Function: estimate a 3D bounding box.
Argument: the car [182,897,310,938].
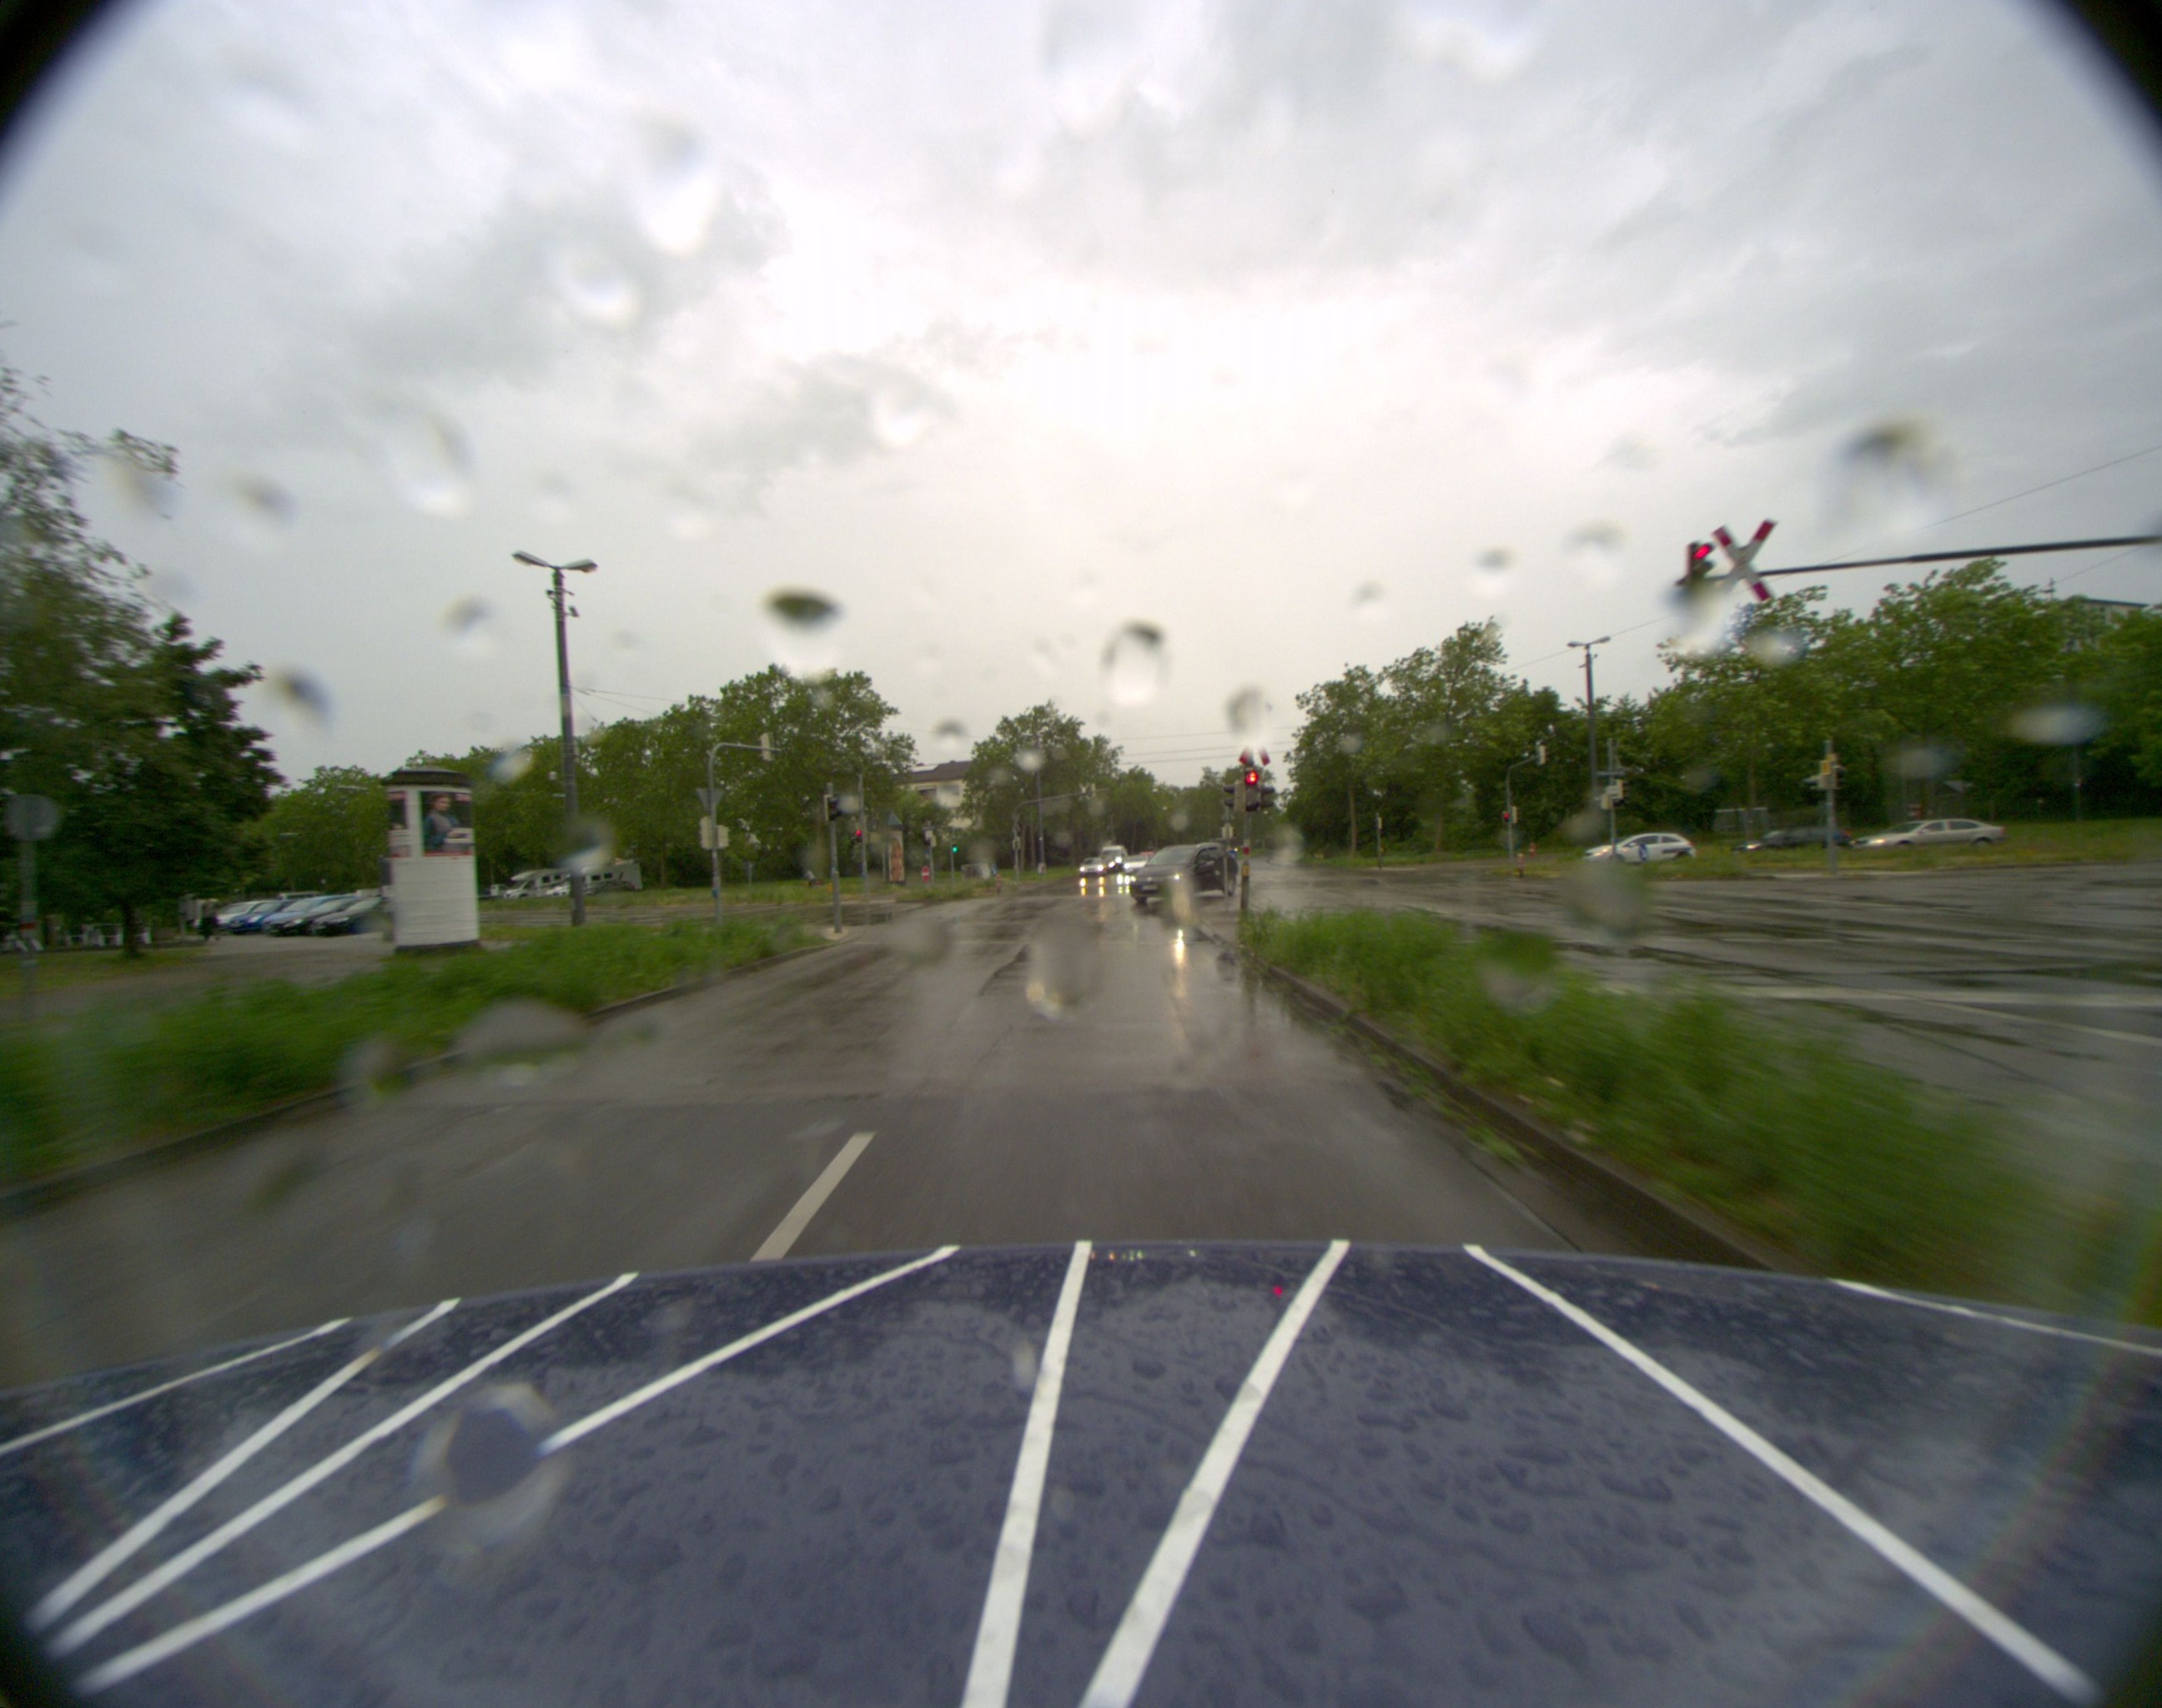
[{"bbox_3d":[-42.079,3.151,38.453,1.929,1.631,4.121,-3,0,-2],"label":"car"}]

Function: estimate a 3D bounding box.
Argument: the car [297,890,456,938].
[{"bbox_3d":[-29.294,2.437,31.821,1.855,1.410,4.495,-3,2,13],"label":"car"}]

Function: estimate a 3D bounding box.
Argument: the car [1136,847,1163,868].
[{"bbox_3d":[5.740,0.265,63.495,1.788,1.597,4.622,-3,-1,9],"label":"car"}]

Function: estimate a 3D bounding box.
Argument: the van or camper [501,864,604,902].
[{"bbox_3d":[-51.108,2.766,73.685,3.254,3.159,7.465,-3,-1,34],"label":"van or camper"}]

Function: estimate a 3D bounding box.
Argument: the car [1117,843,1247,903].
[{"bbox_3d":[3.180,0.517,23.143,1.863,1.592,4.534,-3,-1,37],"label":"car"}]

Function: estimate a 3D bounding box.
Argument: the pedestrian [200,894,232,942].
[{"bbox_3d":[-33.218,2.455,29.172,0.884,1.786,0.728,-3,-1,38],"label":"pedestrian"}]

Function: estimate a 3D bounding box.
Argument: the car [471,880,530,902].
[{"bbox_3d":[-58.278,3.691,76.315,2.180,2.001,4.195,-3,-1,37],"label":"car"}]

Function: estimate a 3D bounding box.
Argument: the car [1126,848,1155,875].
[{"bbox_3d":[4.525,0.568,57.047,1.932,1.817,4.611,-3,-1,6],"label":"car"}]

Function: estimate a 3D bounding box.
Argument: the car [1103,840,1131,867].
[{"bbox_3d":[3.468,-0.044,72.351,1.997,2.377,5.627,-3,-1,9],"label":"car"}]

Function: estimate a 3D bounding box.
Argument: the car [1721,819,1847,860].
[{"bbox_3d":[32.230,-0.649,34.935,3.804,1.608,1.875,-3,-1,8],"label":"car"}]

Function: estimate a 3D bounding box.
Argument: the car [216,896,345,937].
[{"bbox_3d":[-39.166,3.001,37.334,1.928,1.572,4.000,-3,0,1],"label":"car"}]

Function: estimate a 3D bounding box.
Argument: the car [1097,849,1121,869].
[{"bbox_3d":[2.448,0.433,65.396,1.789,1.597,4.071,-3,-1,6],"label":"car"}]

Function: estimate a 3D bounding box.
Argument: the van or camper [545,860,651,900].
[{"bbox_3d":[-43.575,2.296,68.821,3.254,3.159,7.360,-3,-1,30],"label":"van or camper"}]

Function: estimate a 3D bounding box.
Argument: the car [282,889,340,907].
[{"bbox_3d":[-97.088,5.502,95.833,2.038,2.001,4.658,-3,-1,27],"label":"car"}]

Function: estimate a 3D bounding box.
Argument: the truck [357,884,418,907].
[{"bbox_3d":[-80.664,4.821,88.453,2.424,2.324,4.747,-3,-1,32],"label":"truck"}]

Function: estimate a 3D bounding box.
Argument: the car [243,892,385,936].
[{"bbox_3d":[-34.467,2.659,34.296,1.855,1.572,4.004,-3,0,16],"label":"car"}]

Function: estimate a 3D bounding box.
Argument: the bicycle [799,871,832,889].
[{"bbox_3d":[-17.520,1.713,50.134,1.882,1.110,0.693,-4,0,9],"label":"bicycle"}]

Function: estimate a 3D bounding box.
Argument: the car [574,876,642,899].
[{"bbox_3d":[-40.998,2.855,65.955,1.995,1.706,4.467,-3,-1,33],"label":"car"}]

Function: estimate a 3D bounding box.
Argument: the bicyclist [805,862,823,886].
[{"bbox_3d":[-17.619,1.329,50.143,0.843,1.497,0.693,-4,0,9],"label":"bicyclist"}]

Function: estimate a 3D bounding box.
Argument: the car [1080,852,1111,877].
[{"bbox_3d":[1.132,0.766,57.139,1.932,1.681,4.410,-3,-1,6],"label":"car"}]

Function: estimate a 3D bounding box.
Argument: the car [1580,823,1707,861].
[{"bbox_3d":[24.294,-0.491,32.971,3.991,1.355,1.791,-3,-1,11],"label":"car"}]

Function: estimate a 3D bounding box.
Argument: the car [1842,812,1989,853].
[{"bbox_3d":[33.818,-0.846,30.894,3.790,1.395,1.790,-3,-1,4],"label":"car"}]

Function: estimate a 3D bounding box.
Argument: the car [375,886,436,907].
[{"bbox_3d":[-77.528,4.868,87.278,2.424,2.001,4.747,-3,-1,35],"label":"car"}]

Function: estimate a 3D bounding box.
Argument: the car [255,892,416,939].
[{"bbox_3d":[-31.626,2.561,32.439,1.855,1.410,4.514,-3,2,13],"label":"car"}]
